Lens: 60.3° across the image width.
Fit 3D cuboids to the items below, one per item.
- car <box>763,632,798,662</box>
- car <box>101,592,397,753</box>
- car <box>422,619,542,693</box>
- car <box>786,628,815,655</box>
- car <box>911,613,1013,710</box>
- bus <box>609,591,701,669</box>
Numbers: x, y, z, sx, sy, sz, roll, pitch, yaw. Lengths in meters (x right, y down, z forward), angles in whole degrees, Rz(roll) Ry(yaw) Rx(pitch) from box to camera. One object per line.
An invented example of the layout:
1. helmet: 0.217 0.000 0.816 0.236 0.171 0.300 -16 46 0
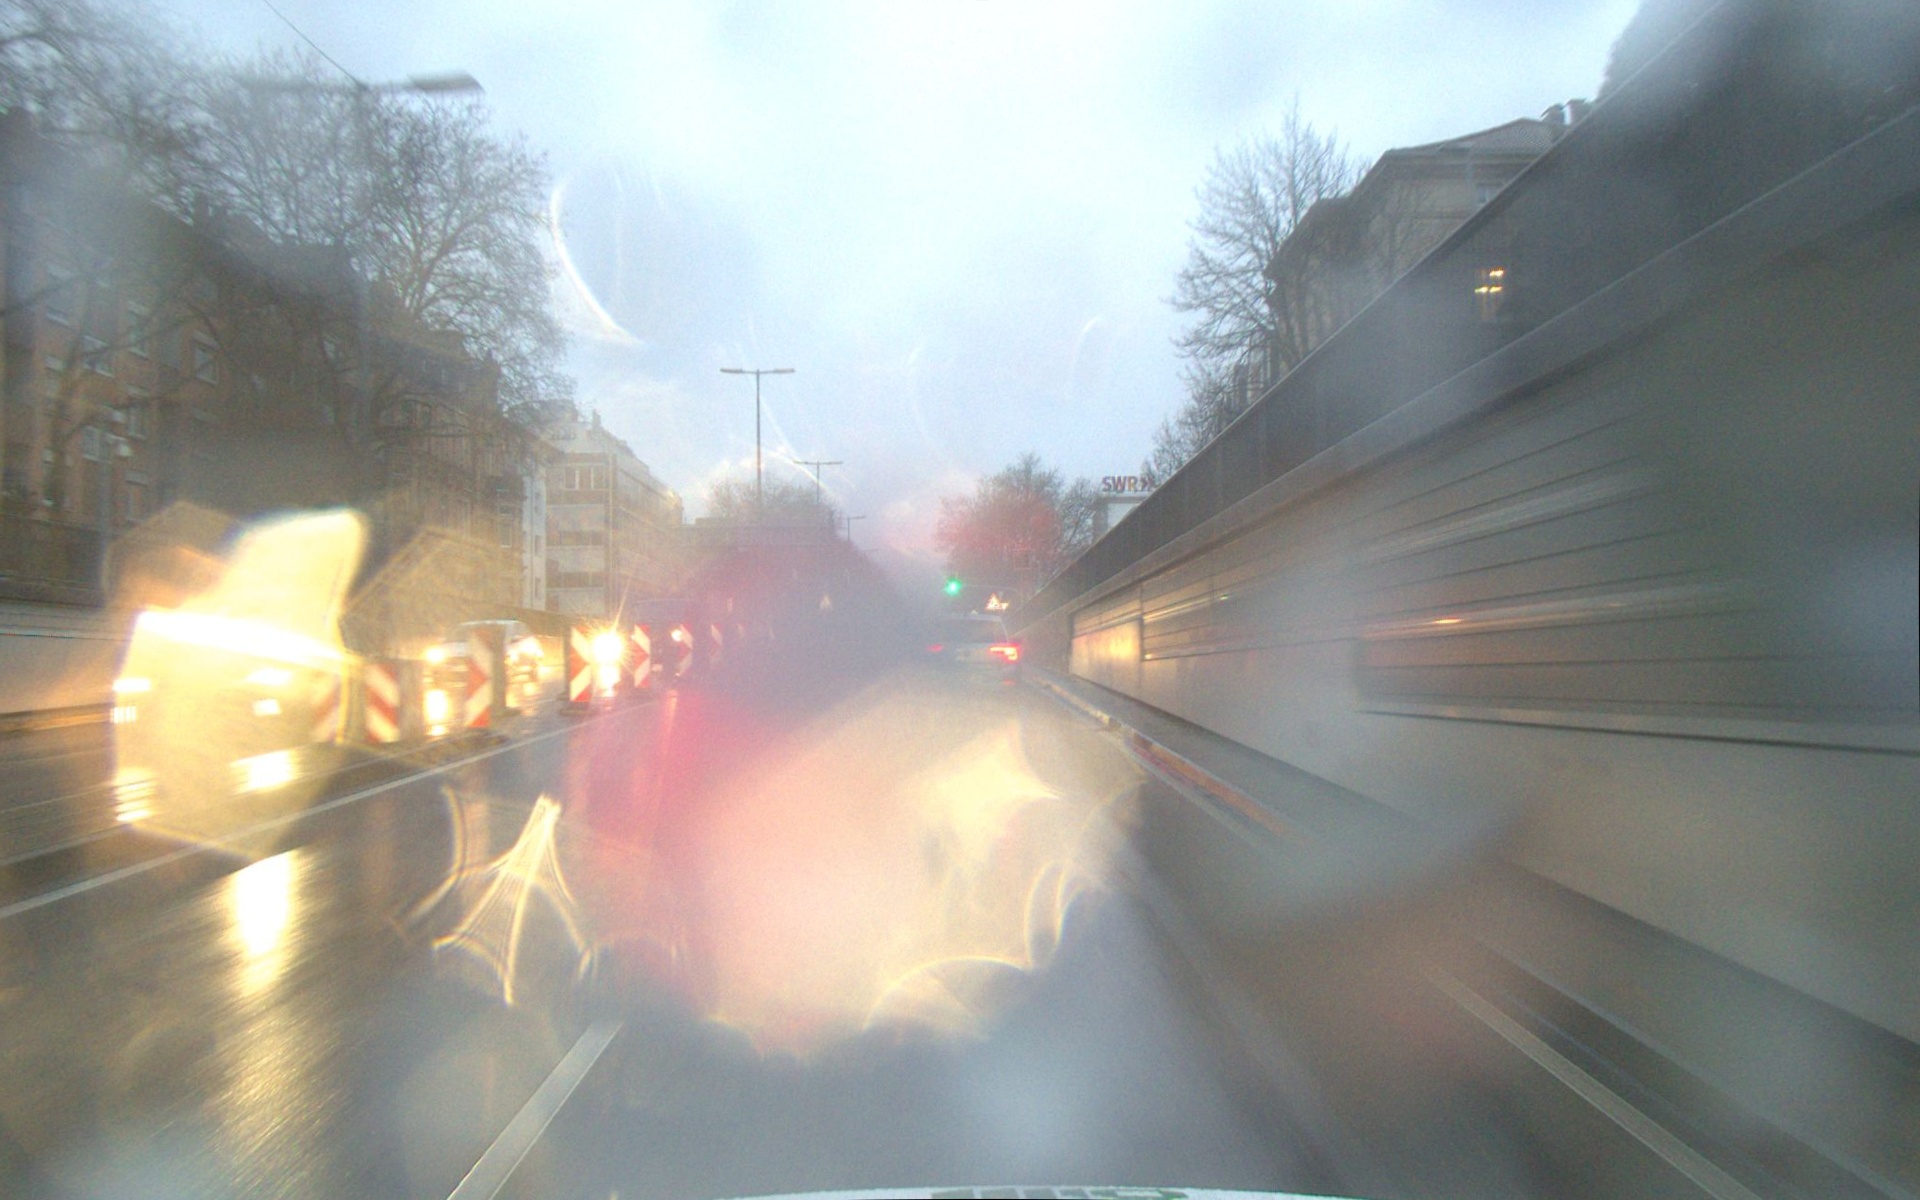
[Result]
1. car: -9.323 2.453 86.161 1.466 1.407 3.433 -2 0 -1
2. car: -8.123 0.760 19.293 1.749 1.620 3.841 -2 0 0
3. car: -10.964 1.251 38.171 1.640 1.517 3.873 -2 0 -1
4. car: -9.404 2.425 97.530 1.466 1.407 3.432 -2 0 -2
5. car: 0.003 0.967 25.947 1.500 1.422 3.432 0 -2 -1
6. bus: -8.610 0.839 47.125 1.640 2.000 5.173 -3 -1 -1
